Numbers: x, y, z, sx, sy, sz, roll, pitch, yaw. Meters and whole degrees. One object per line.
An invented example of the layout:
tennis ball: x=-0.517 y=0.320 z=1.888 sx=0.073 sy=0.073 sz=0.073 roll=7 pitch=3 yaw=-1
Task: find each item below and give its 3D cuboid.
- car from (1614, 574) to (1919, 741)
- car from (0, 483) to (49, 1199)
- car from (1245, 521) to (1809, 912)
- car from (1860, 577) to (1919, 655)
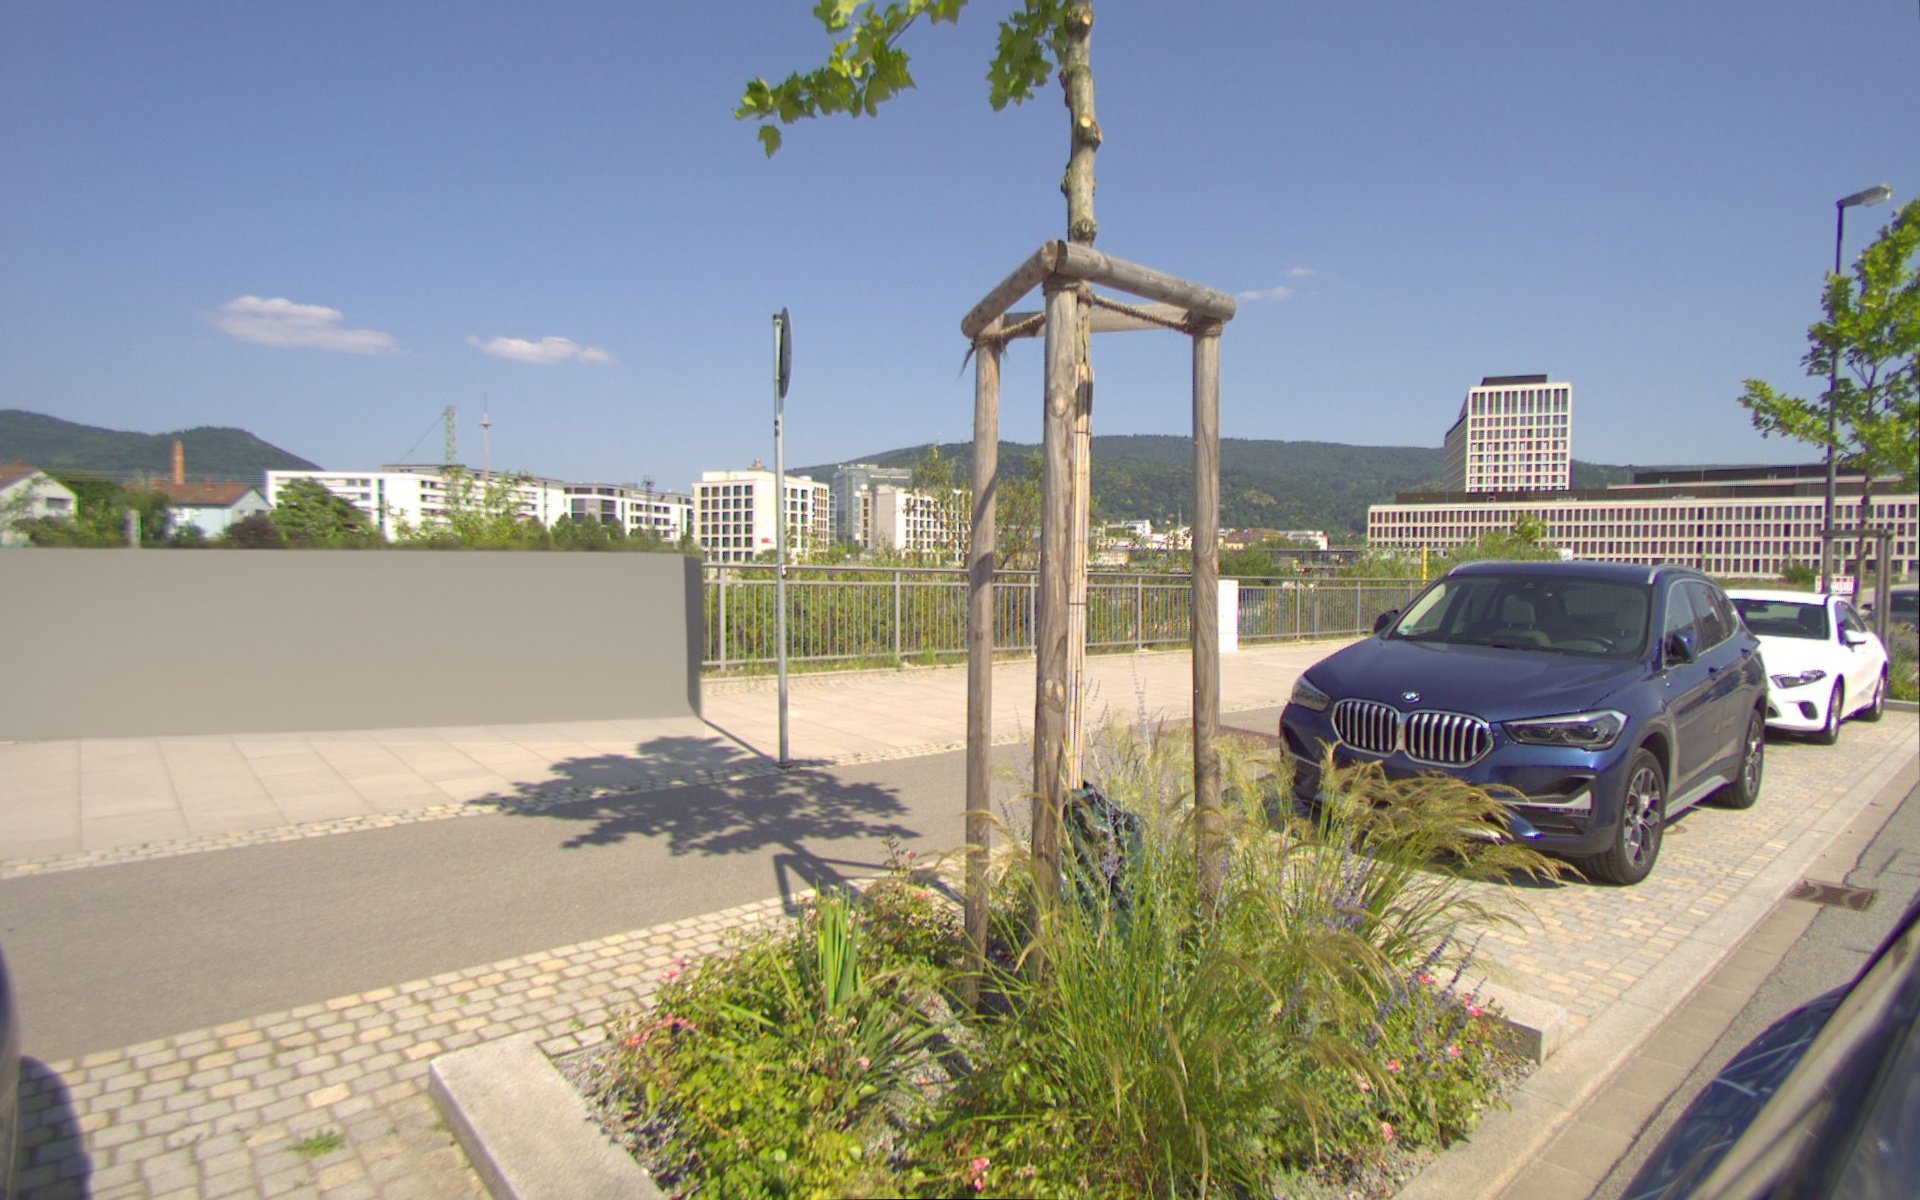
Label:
car: x=8.888 y=0.462 z=11.012 sx=4.194 sy=1.390 sz=1.711 roll=-1 pitch=5 yaw=-39
car: x=-2.832 y=0.609 z=0.506 sx=3.485 sy=1.574 sz=1.585 roll=0 pitch=4 yaw=-41
car: x=3.810 y=0.421 z=6.462 sx=4.197 sy=1.703 sz=1.807 roll=-1 pitch=4 yaw=-41
car: x=20.246 y=0.308 z=21.017 sx=3.849 sy=1.449 sz=1.808 roll=-1 pitch=5 yaw=-41
